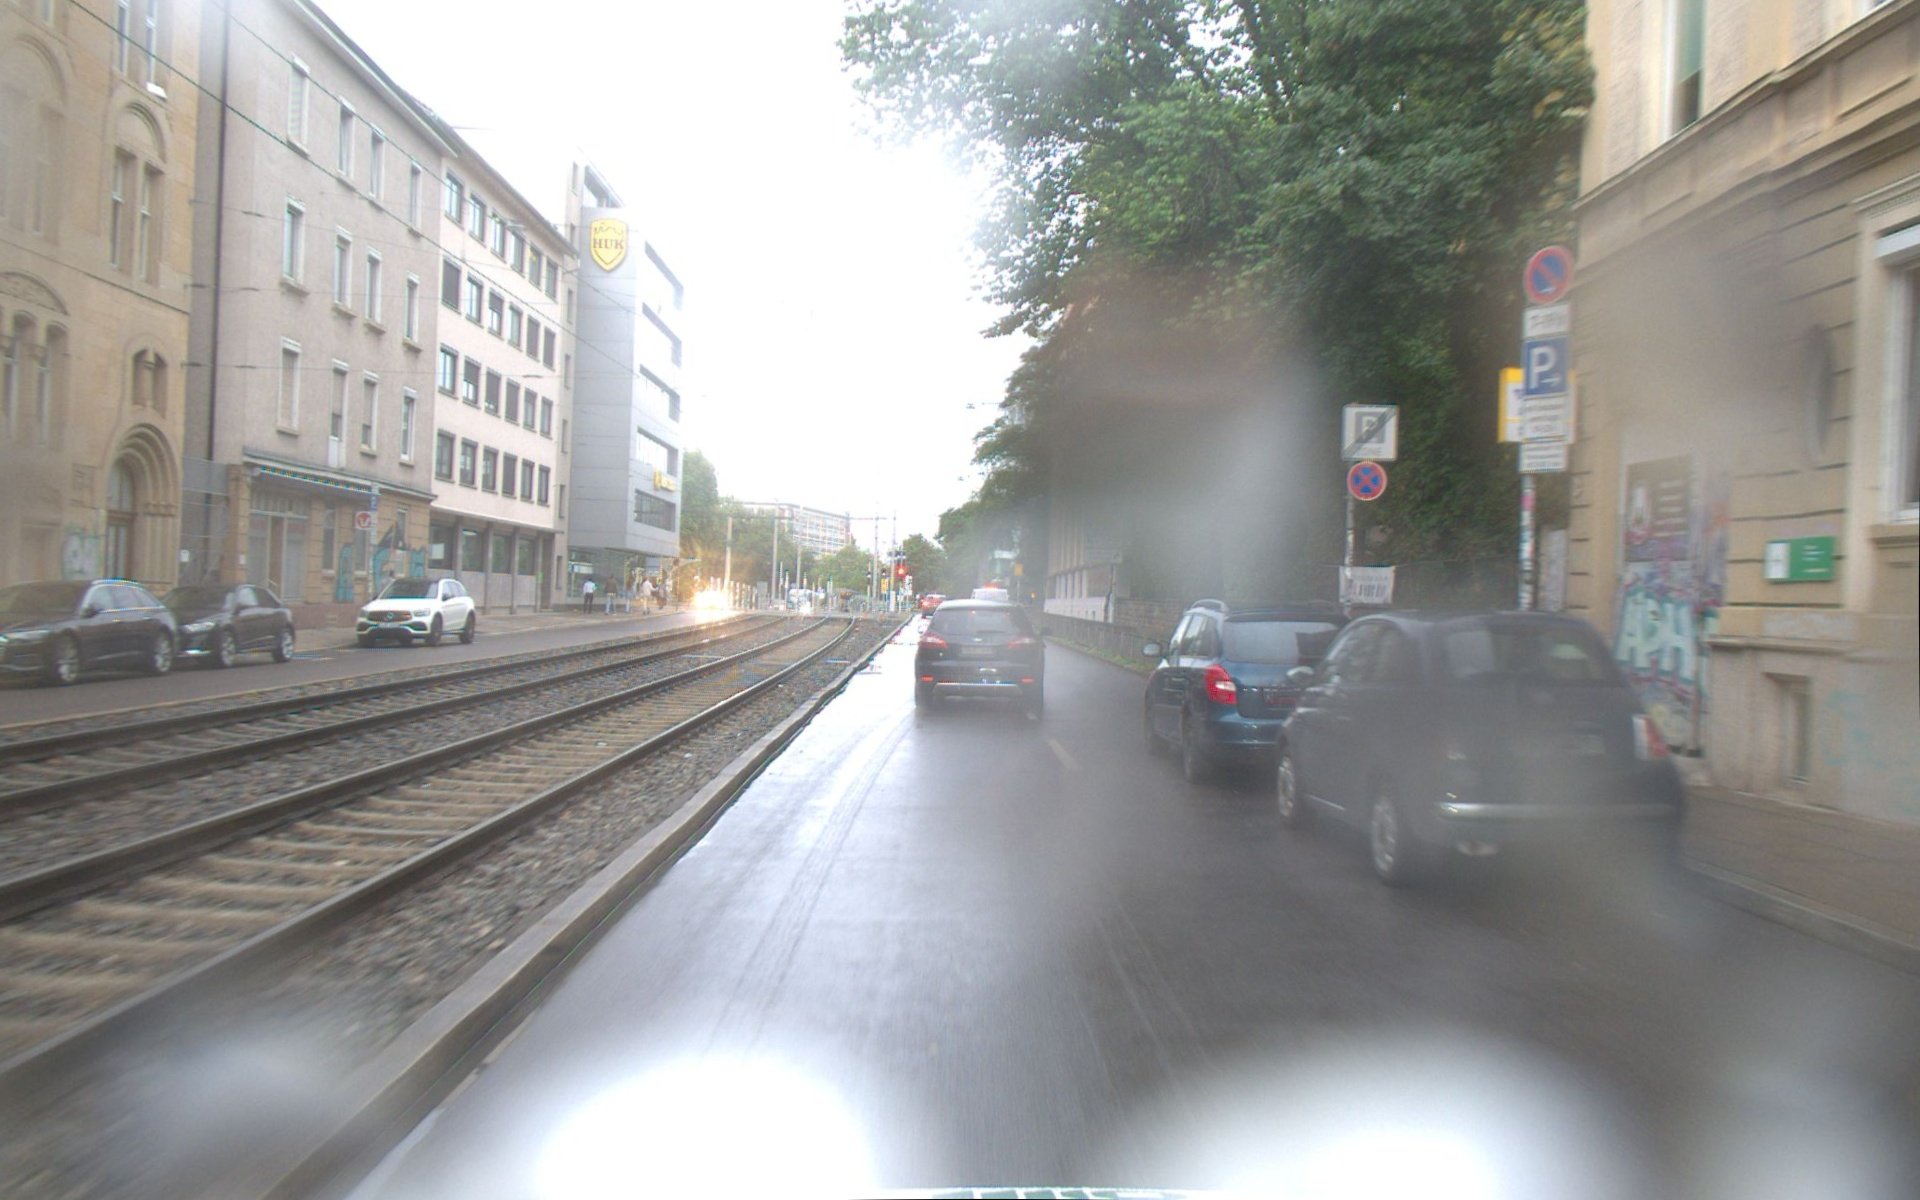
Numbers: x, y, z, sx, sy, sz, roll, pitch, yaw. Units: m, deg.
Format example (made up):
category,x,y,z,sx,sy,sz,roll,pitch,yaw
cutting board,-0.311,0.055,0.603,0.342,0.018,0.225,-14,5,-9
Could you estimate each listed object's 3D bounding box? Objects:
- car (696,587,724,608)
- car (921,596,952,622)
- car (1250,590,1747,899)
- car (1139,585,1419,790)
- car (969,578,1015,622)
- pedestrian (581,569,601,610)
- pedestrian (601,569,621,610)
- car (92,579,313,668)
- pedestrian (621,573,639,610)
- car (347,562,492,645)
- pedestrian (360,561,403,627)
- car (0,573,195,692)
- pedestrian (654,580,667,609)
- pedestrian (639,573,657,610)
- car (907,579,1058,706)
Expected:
category,x,y,z,sx,sy,sz,roll,pitch,yaw
car,-18.723,-0.227,123.816,1.957,1.467,3.992,2,0,-9
car,-1.513,0.596,109.386,1.953,1.622,4.270,1,-1,0
car,3.104,0.732,10.435,1.703,1.515,3.999,2,0,-2
car,2.711,0.676,14.942,1.609,1.542,4.037,2,0,-2
car,1.410,0.023,74.582,1.953,1.848,4.270,1,-1,0
pedestrian,-17.486,-0.486,78.440,0.729,1.886,0.839,1,-2,-2
pedestrian,-16.565,-0.496,78.501,0.729,1.886,0.839,1,-2,-2
car,-13.348,0.400,29.458,1.953,1.400,4.237,2,0,-1
pedestrian,-16.937,-0.429,84.919,0.729,1.886,0.839,1,-2,-2
car,-13.459,0.106,41.528,1.953,1.871,5.070,2,0,-1
pedestrian,-16.185,-0.168,46.302,0.785,1.781,0.984,2,-1,-2
car,-13.208,0.408,24.087,1.953,1.545,4.675,2,-1,-1
pedestrian,-20.192,-0.367,111.581,0.729,1.886,0.839,1,-2,-2
pedestrian,-16.053,-0.427,84.987,0.729,1.886,0.839,1,-2,-2
car,0.285,0.609,23.927,1.953,1.622,4.270,1,-1,0
